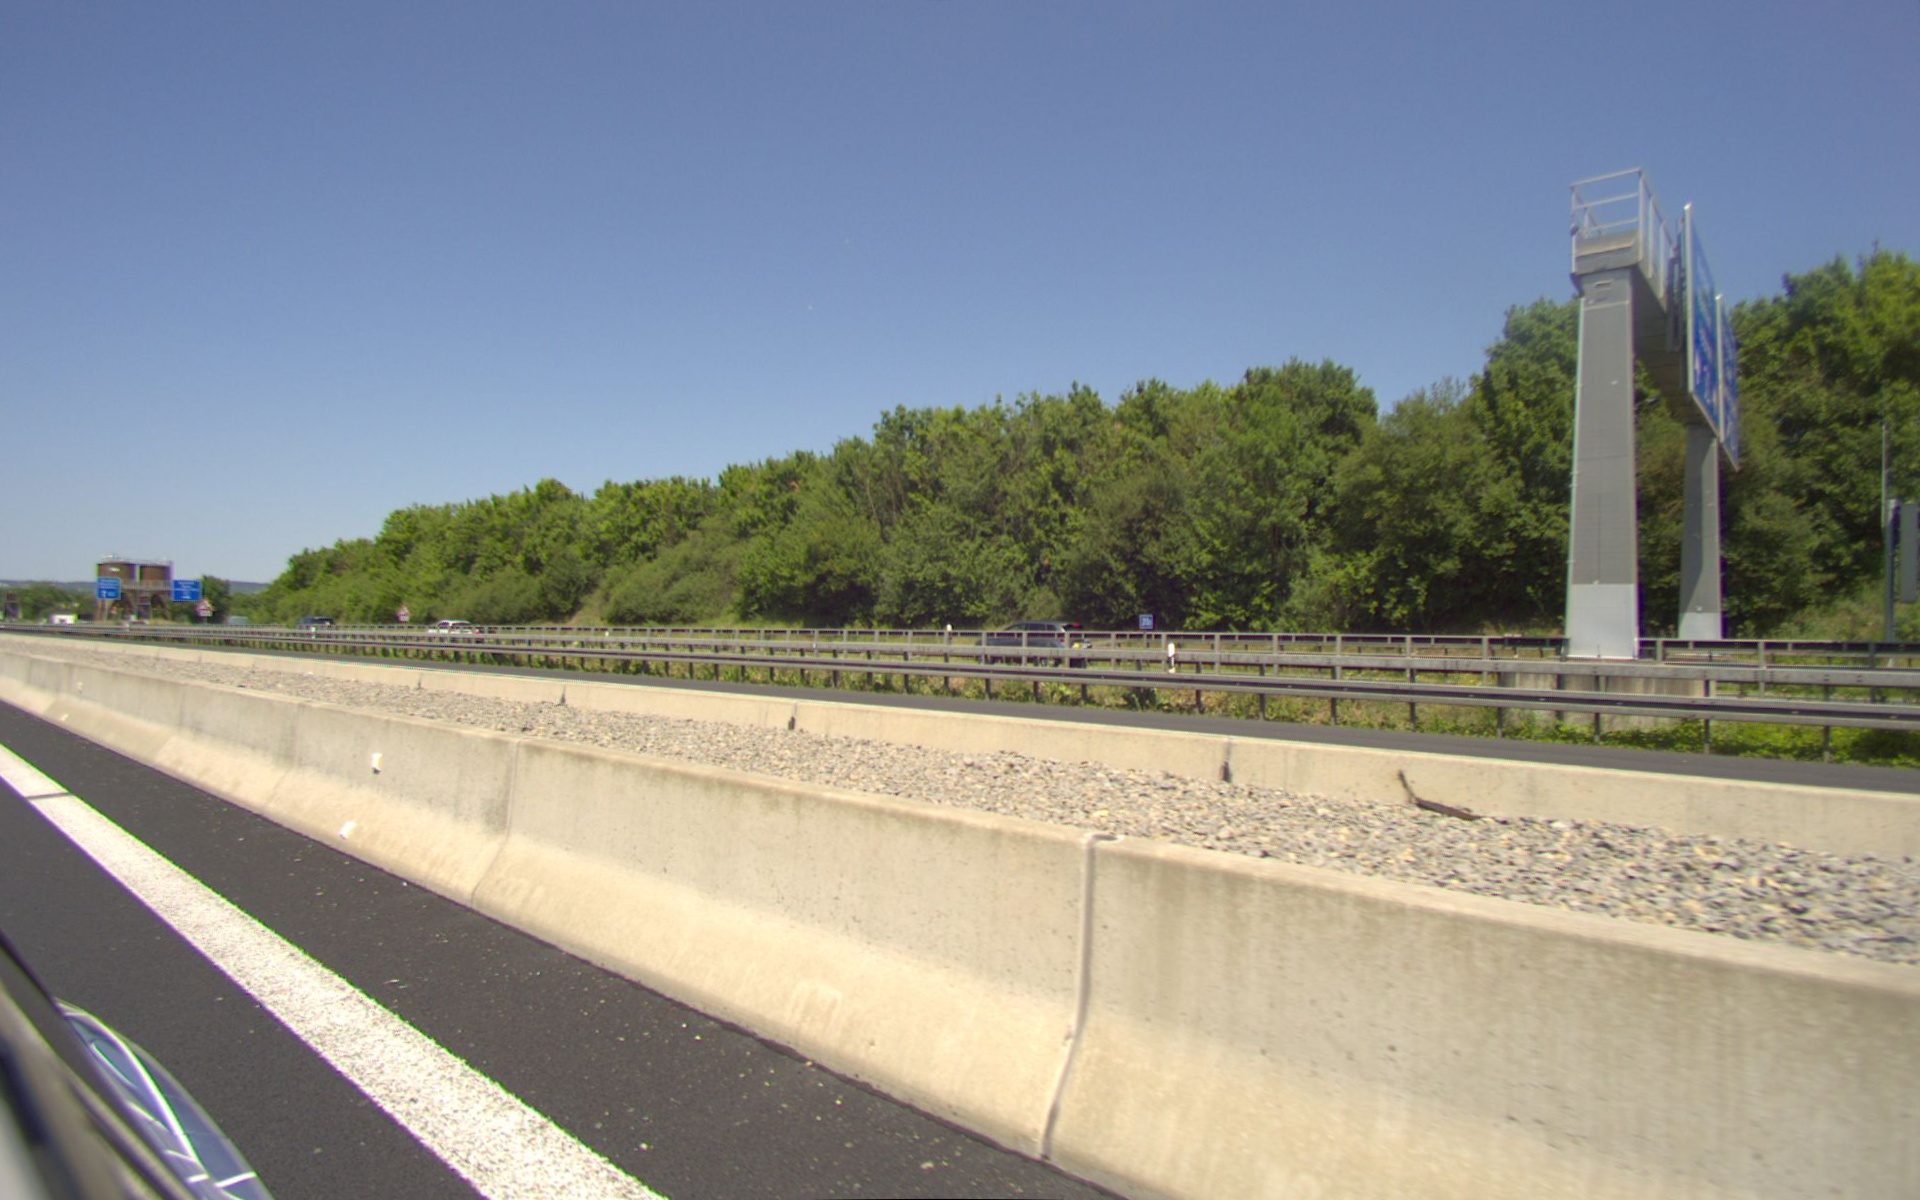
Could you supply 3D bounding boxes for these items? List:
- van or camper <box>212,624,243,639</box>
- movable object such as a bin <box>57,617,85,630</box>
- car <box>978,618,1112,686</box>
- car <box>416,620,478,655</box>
[{"bbox_3d":[-90.352,3.854,124.819,5.528,1.812,1.972,-1,-2,43],"label":"van or camper"},{"bbox_3d":[-147.934,3.813,168.401,6.775,2.029,2.482,-1,0,40],"label":"movable object such as a bin"},{"bbox_3d":[2.777,1.657,33.378,3.997,2.029,1.973,-1,0,41],"label":"car"},{"bbox_3d":[-32.848,2.355,64.777,4.762,2.029,1.926,-1,0,42],"label":"car"}]
